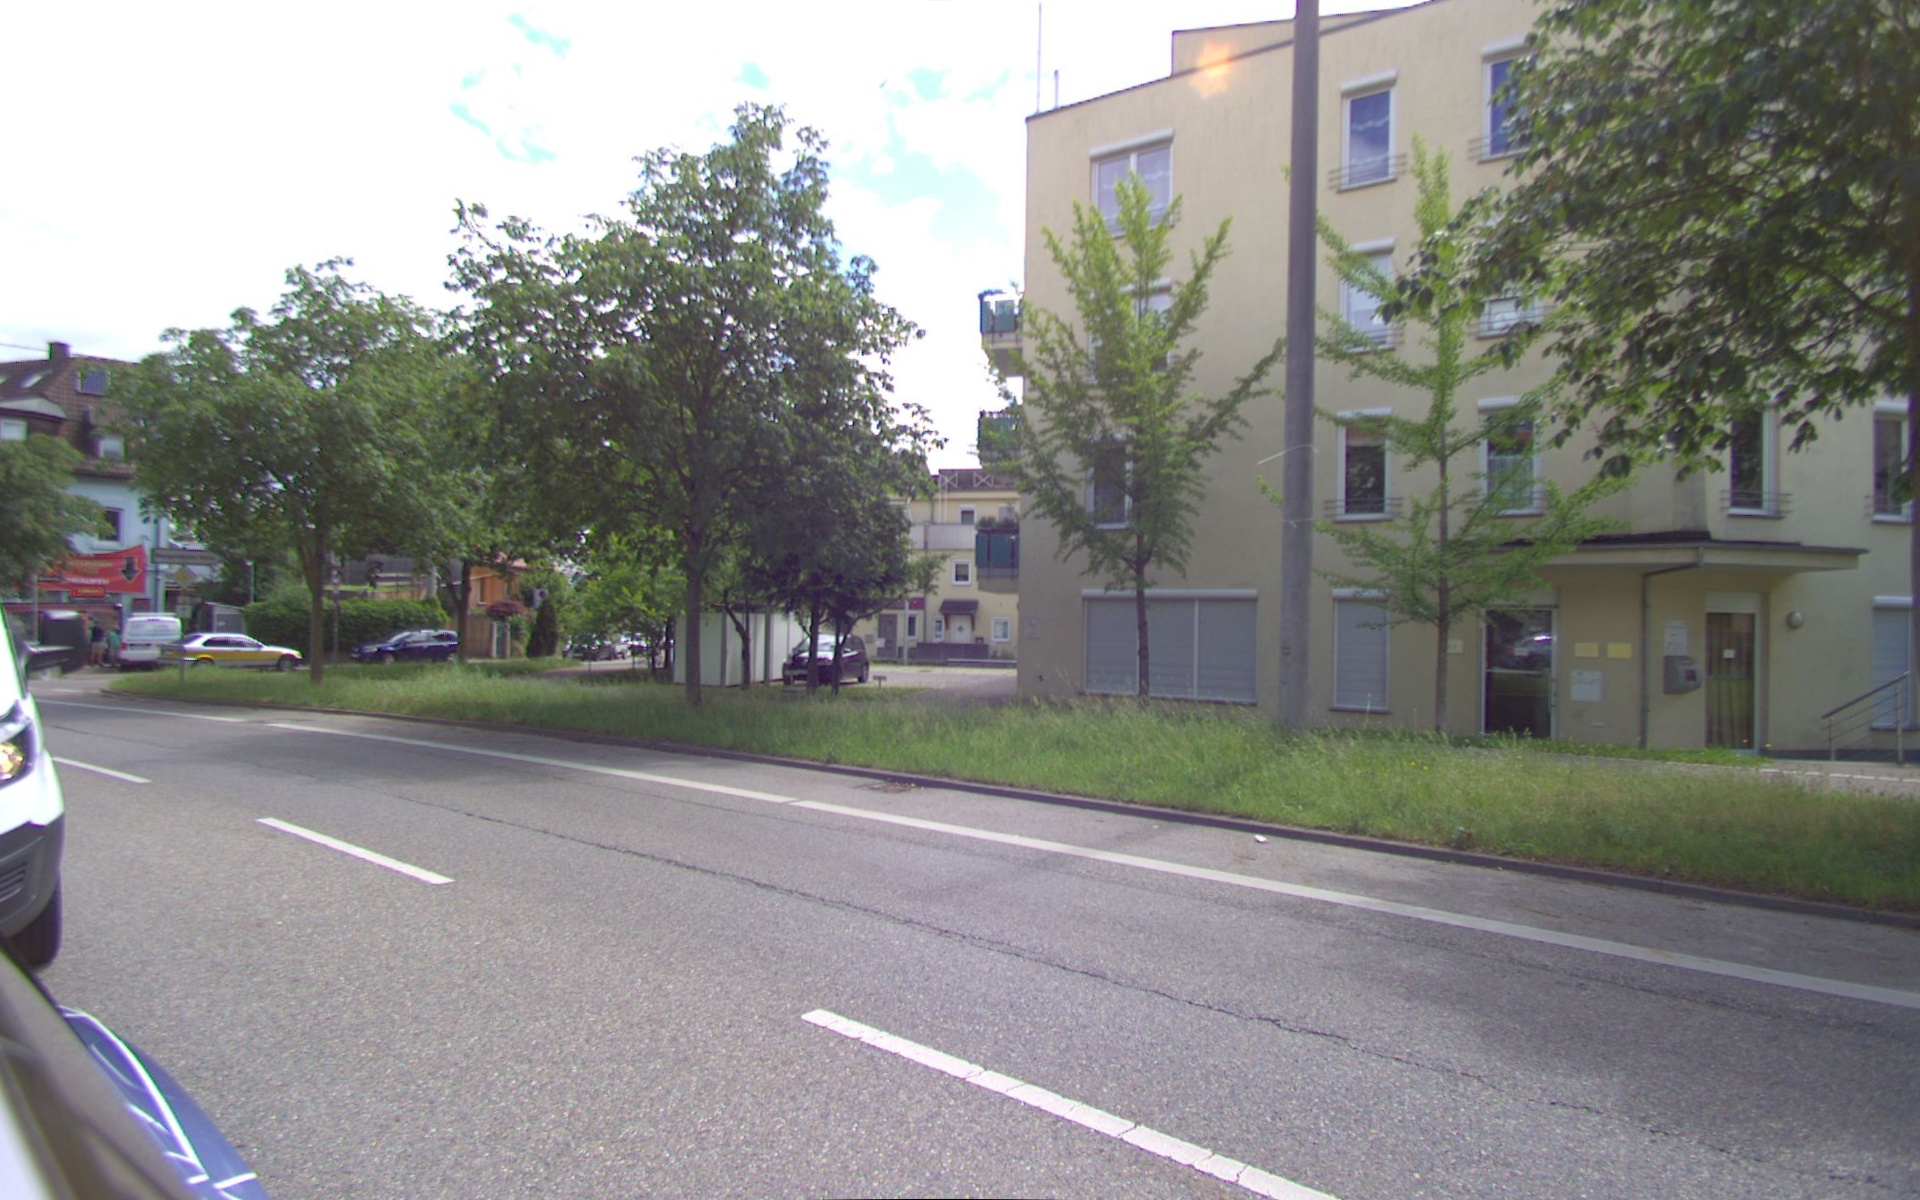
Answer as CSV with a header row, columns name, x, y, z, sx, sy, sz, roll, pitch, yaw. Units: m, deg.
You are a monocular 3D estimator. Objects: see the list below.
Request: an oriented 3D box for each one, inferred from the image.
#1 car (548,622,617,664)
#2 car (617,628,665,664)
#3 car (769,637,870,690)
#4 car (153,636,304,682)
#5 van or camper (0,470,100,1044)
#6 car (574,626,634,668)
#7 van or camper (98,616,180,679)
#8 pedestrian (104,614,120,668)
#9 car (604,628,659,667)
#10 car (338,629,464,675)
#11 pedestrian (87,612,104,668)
name,x,y,z,sx,sy,sz,roll,pitch,yaw
car,-18.934,2.152,50.948,1.954,2.029,3.998,0,-2,1
car,-20.071,2.846,63.843,1.870,2.029,4.002,-1,0,-2
car,-4.038,1.824,29.780,1.774,1.431,3.986,-1,-2,11
car,-25.311,1.994,35.183,1.529,1.332,4.008,-1,0,27
van or camper,-5.803,0.582,4.705,5.100,2.029,2.001,-2,-3,41
car,-19.310,2.508,55.068,1.971,2.029,4.001,-1,0,-1
van or camper,-29.674,1.657,36.554,3.811,2.105,1.770,0,0,43
pedestrian,-31.563,1.526,37.679,0.443,2.005,0.378,-1,0,41
car,-19.186,2.753,59.241,1.971,2.029,4.001,-1,0,-1
car,-21.787,1.992,39.572,1.715,1.695,3.928,0,-2,37
pedestrian,-31.870,1.466,37.310,0.363,2.029,0.419,-1,0,41
